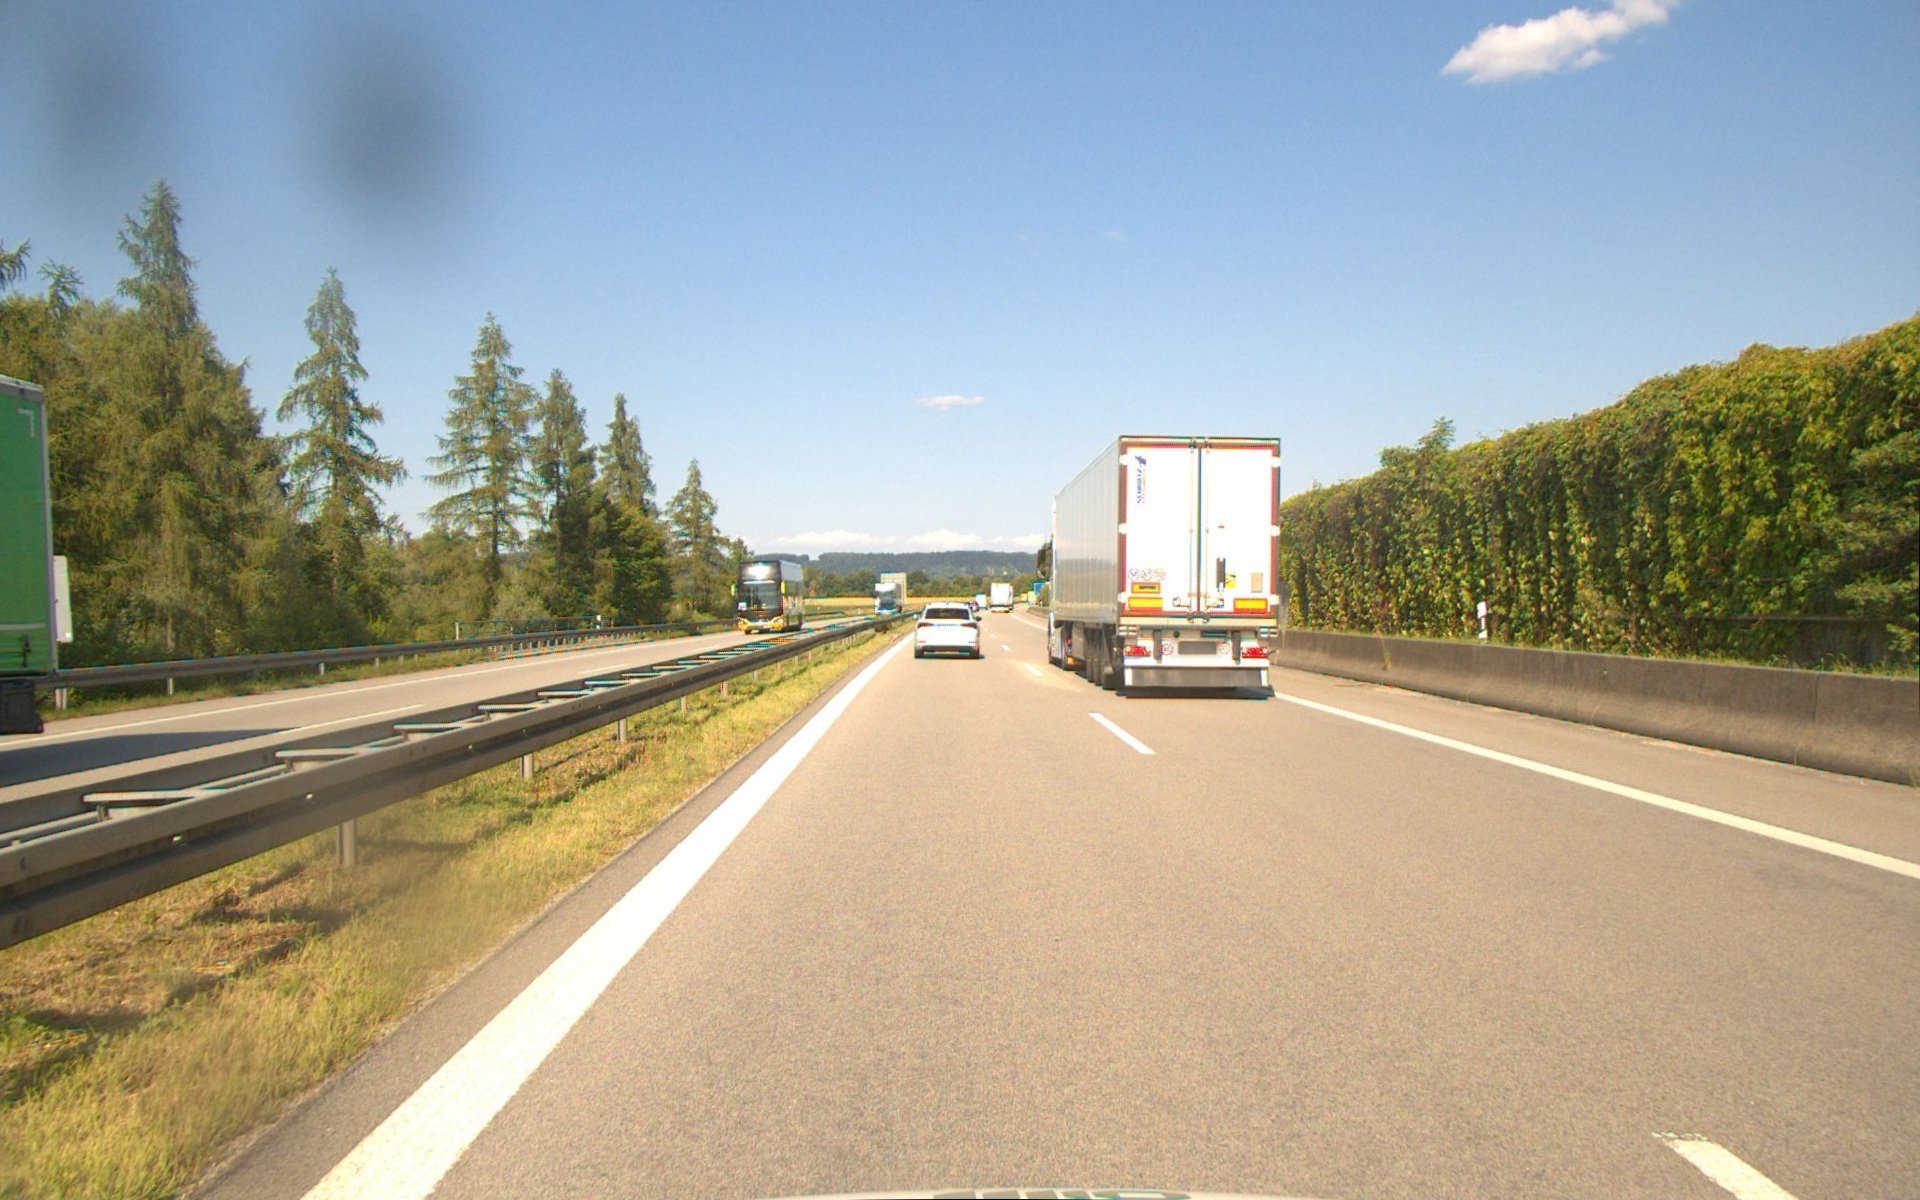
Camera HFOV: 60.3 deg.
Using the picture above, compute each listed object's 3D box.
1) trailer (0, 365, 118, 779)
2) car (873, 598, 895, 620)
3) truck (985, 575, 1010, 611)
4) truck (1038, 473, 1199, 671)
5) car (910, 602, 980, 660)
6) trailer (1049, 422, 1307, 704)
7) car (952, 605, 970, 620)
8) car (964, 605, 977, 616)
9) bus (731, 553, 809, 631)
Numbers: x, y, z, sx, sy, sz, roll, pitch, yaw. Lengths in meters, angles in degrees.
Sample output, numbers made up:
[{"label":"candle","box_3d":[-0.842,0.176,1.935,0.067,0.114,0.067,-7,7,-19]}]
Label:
[{"label":"trailer","box_3d":[-10.624,-0.225,11.418,2.607,4.078,14.083,-2,0,-1]},{"label":"car","box_3d":[-7.105,0.836,154.294,1.718,1.881,5.011,-3,0,0]},{"label":"truck","box_3d":[5.118,-0.966,227.233,3.088,4.693,8.905,-1,0,0]},{"label":"truck","box_3d":[3.470,-0.600,38.043,2.783,4.035,7.042,-2,0,-1]},{"label":"car","box_3d":[-0.435,0.797,45.254,1.803,1.446,5.253,0,0,-1]},{"label":"trailer","box_3d":[3.577,-0.562,31.287,2.761,4.035,14.158,-2,0,-1]},{"label":"car","box_3d":[0.091,1.267,163.441,1.735,1.446,4.495,0,0,0]},{"label":"car","box_3d":[1.426,1.436,229.373,1.734,1.446,4.365,0,0,1]},{"label":"bus","box_3d":[-10.935,-0.446,96.858,2.877,4.124,14.666,-2,0,-1]}]
